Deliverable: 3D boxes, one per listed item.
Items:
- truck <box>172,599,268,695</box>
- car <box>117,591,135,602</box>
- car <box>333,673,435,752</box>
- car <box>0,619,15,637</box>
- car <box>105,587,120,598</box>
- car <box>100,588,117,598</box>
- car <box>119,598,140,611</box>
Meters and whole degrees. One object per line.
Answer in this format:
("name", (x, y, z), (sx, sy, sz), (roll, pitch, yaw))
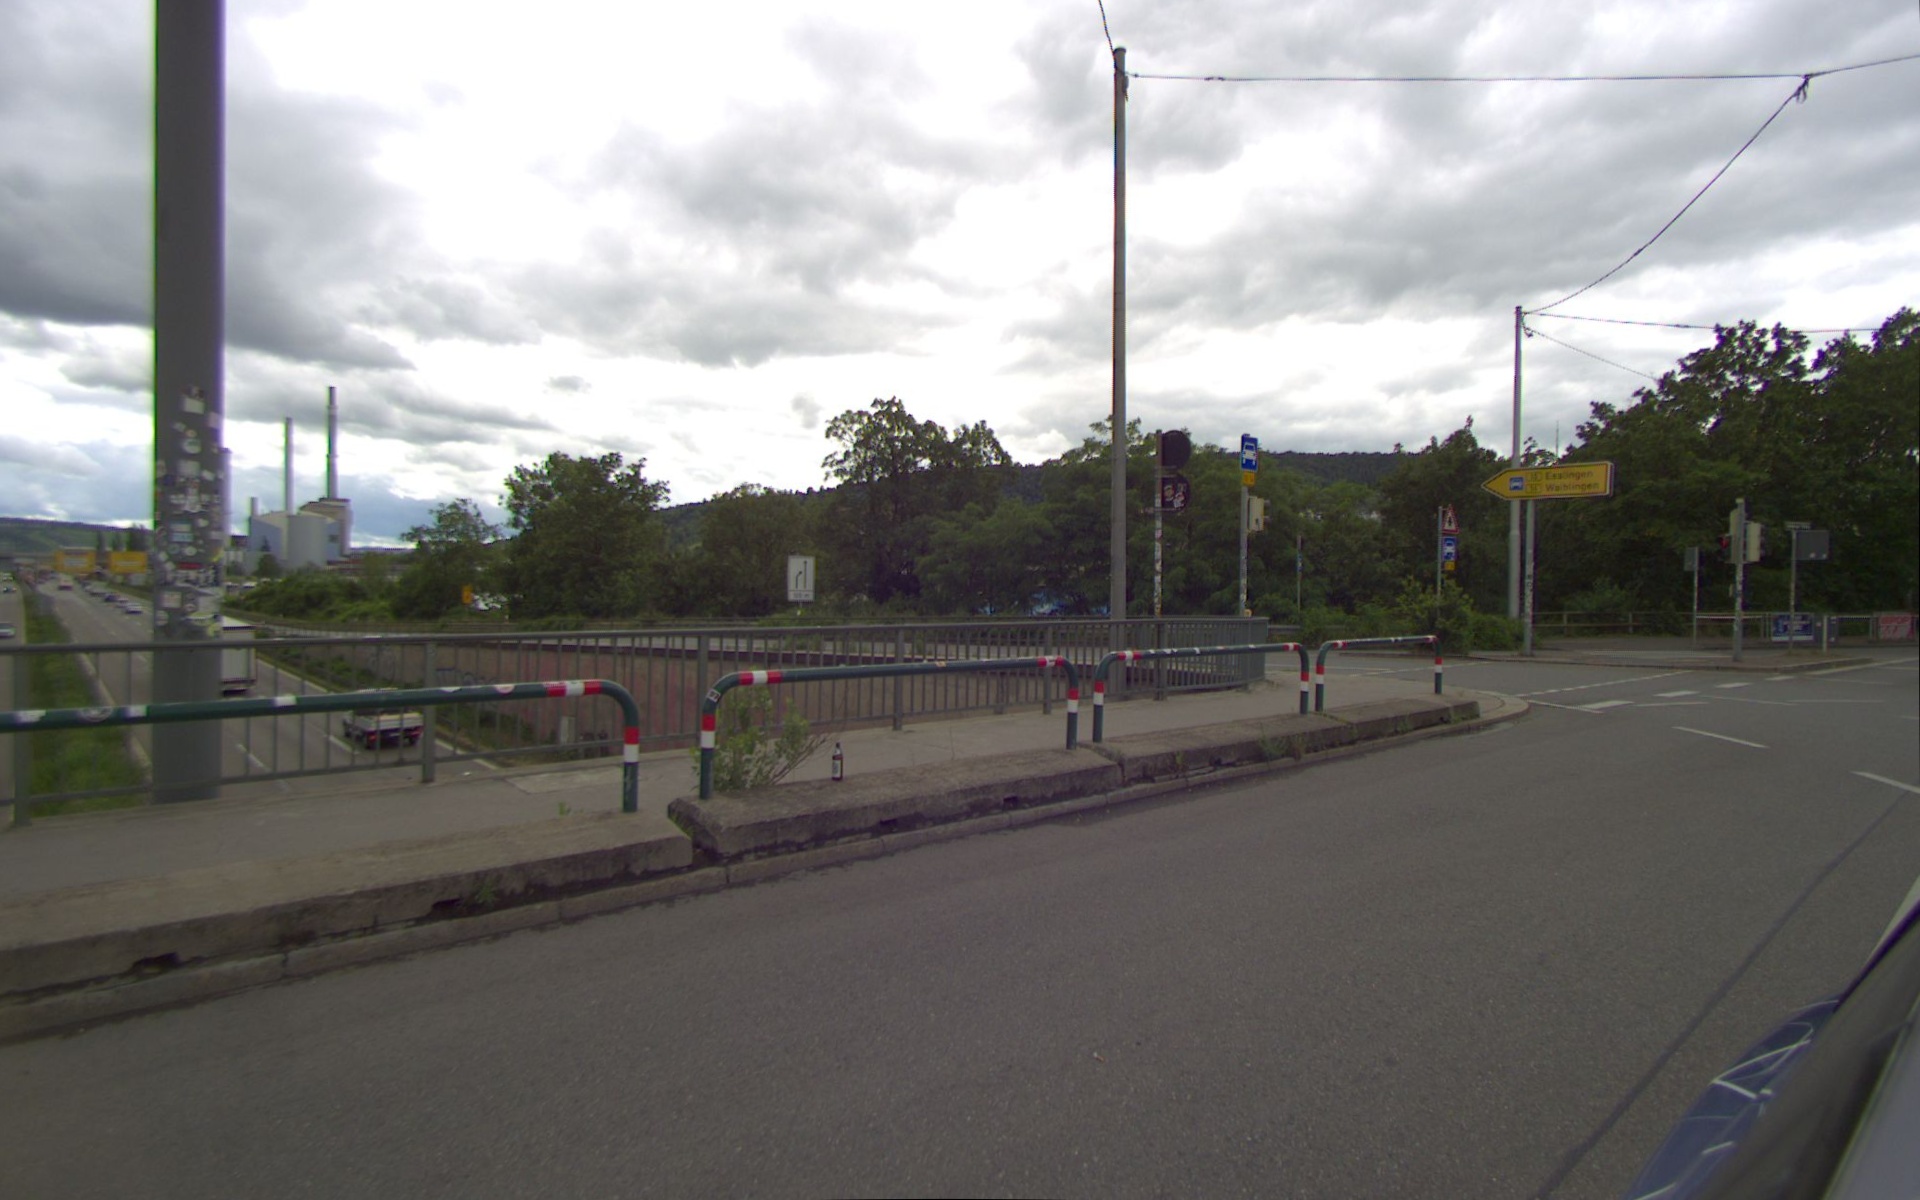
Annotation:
("truck", (-46.365, 2.637, 63.183), (3.527, 4.540, 13.163), (0, 4, -42))
("car", (-138.693, -0.586, 168.293), (3.985, 1.758, 1.968), (0, 1, 45))
("car", (-25.707, 4.844, 44.969), (2.869, 2.530, 7.272), (-2, 2, -38))
("car", (-94.201, 2.759, 99.399), (1.967, 1.728, 4.071), (-2, 1, -42))
("car", (-168.615, -1.525, 201.301), (3.988, 2.039, 1.968), (0, 1, 45))
("car", (-157.478, -1.332, 187.175), (3.985, 1.758, 1.968), (0, 1, 45))
("car", (-121.660, 0.646, 148.162), (1.968, 1.758, 3.985), (-2, 1, -45))
